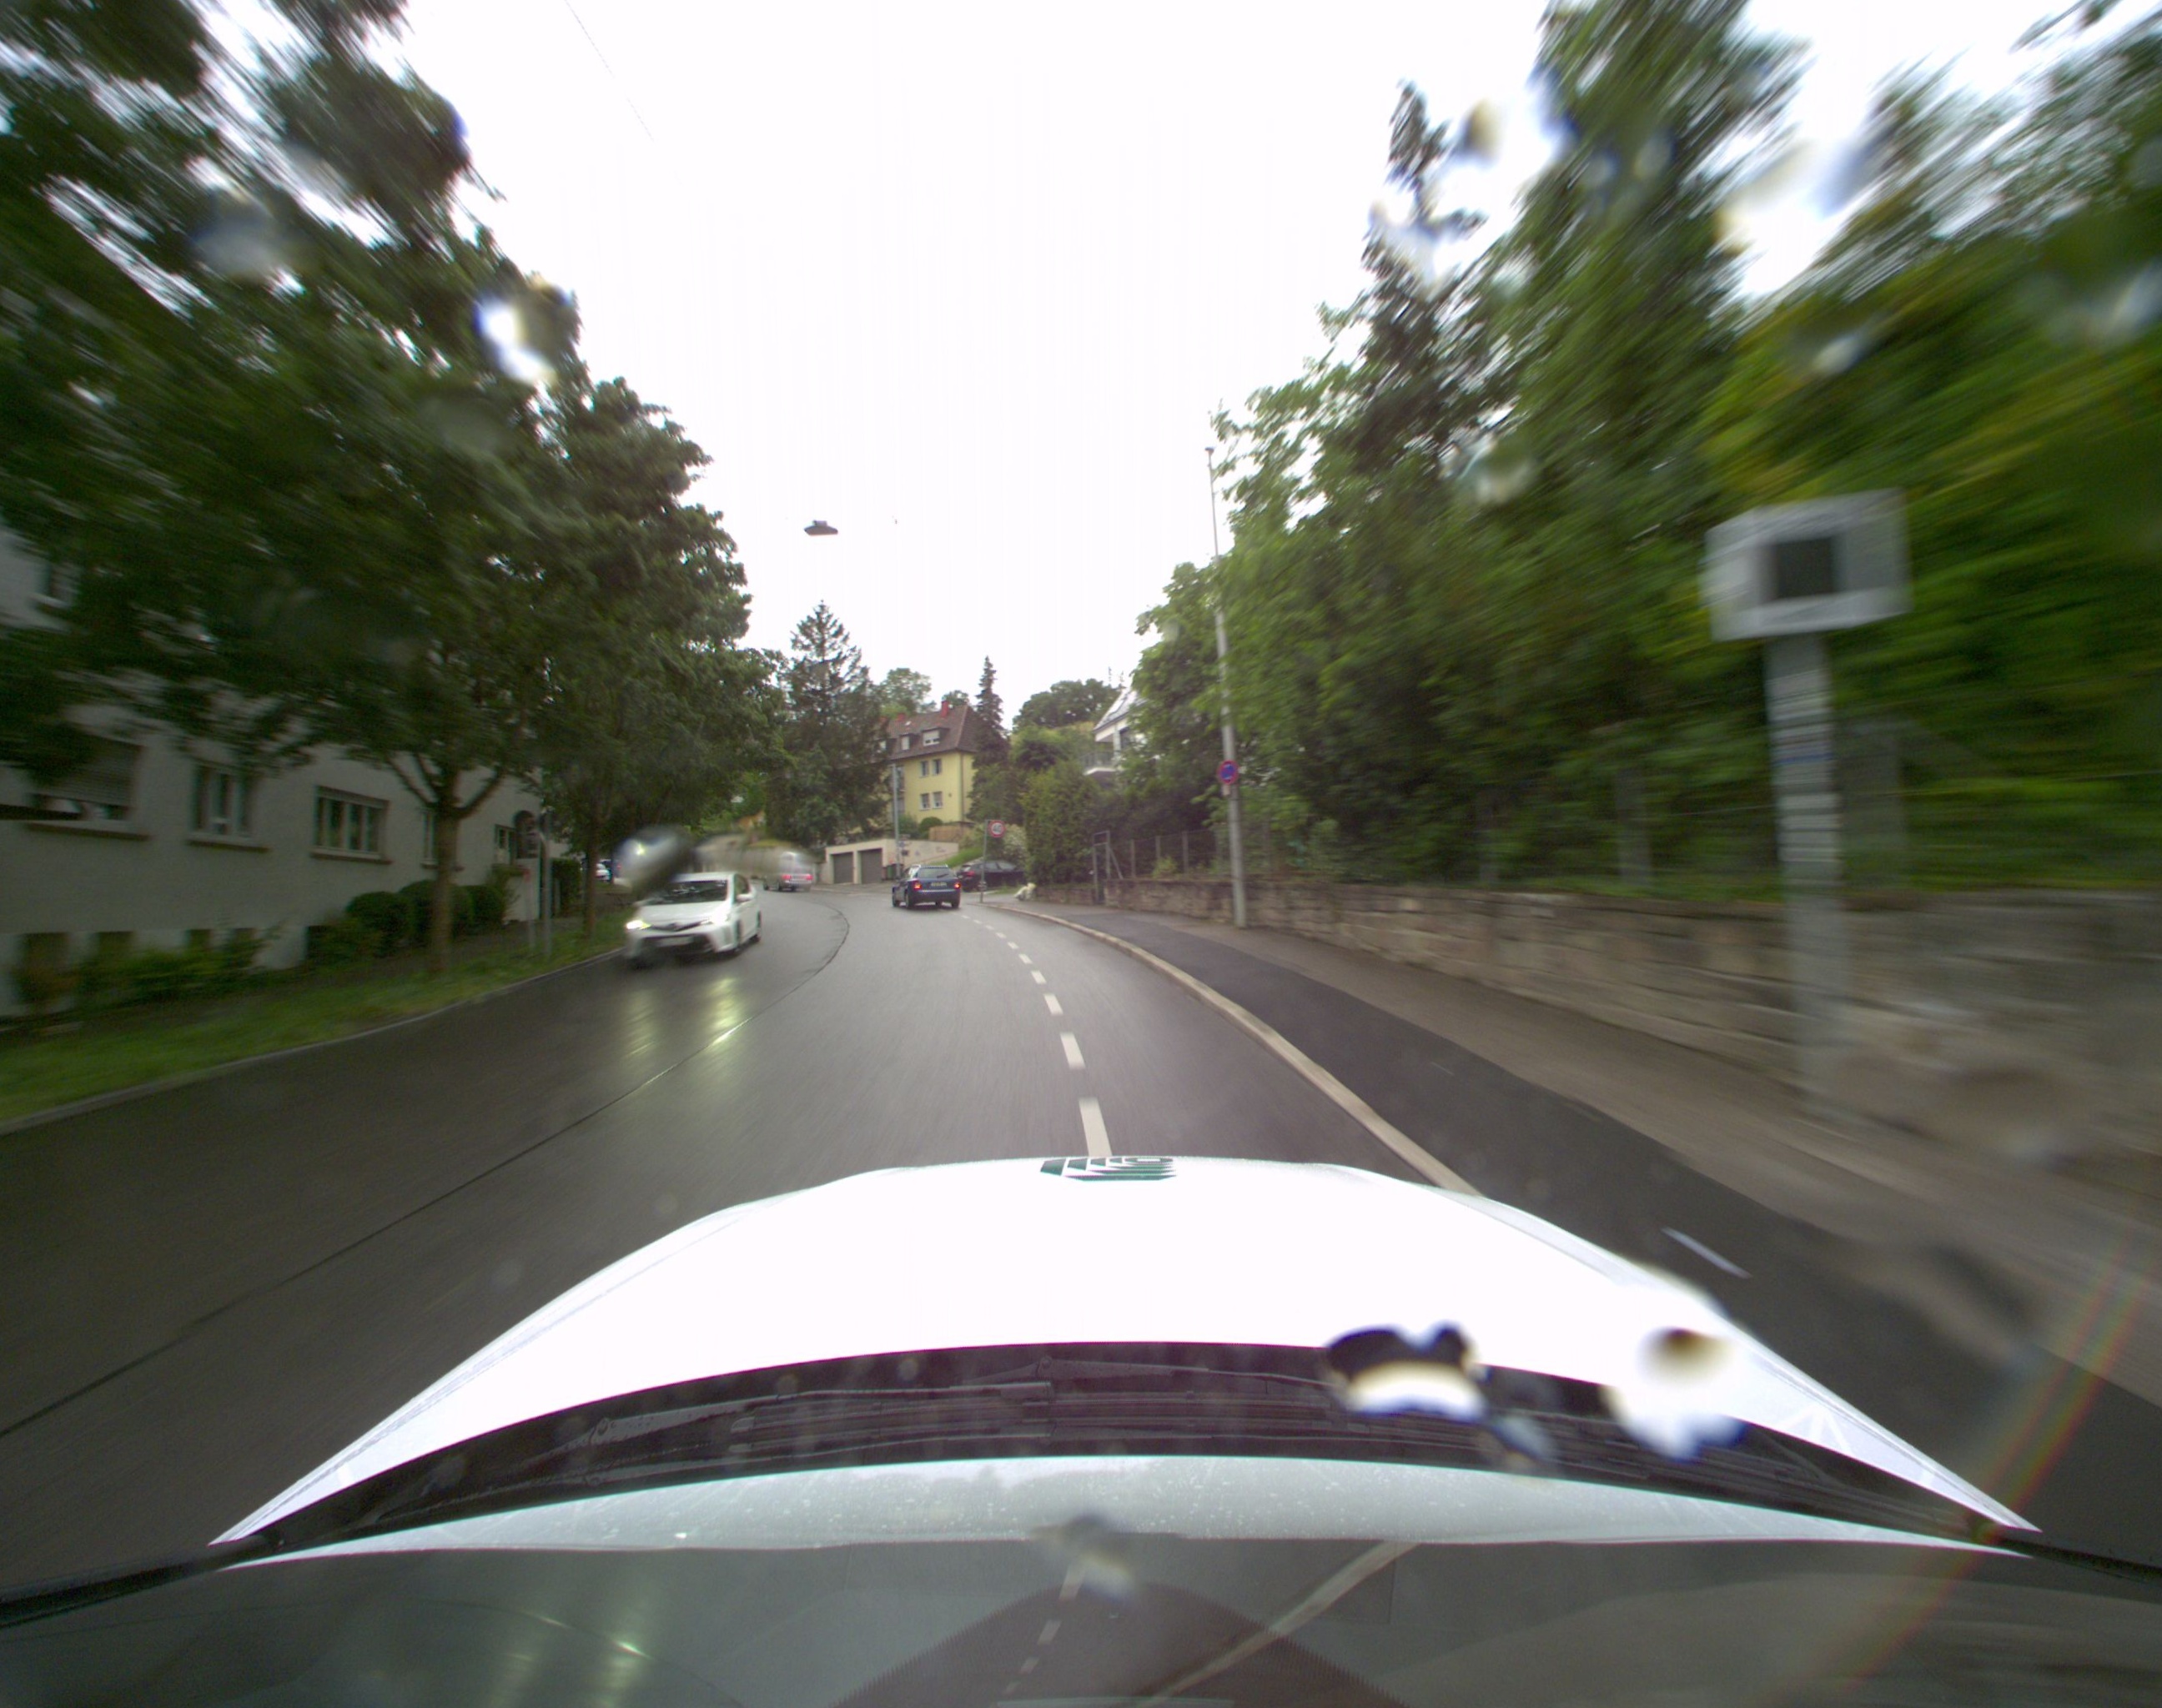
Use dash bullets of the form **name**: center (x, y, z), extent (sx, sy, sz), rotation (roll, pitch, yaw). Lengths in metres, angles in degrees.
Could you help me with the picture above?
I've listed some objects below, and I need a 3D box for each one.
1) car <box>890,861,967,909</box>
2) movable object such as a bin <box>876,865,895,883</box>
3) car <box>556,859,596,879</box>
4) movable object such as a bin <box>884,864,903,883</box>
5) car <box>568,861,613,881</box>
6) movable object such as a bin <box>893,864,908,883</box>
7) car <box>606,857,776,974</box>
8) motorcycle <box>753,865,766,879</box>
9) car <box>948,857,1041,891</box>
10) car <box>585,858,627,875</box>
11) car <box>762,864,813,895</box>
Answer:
- **car**: center (-5.320, 1.003, 27.913), extent (1.860, 1.414, 4.331), rotation (-2, 0, -20)
- **movable object such as a bin**: center (-12.666, 1.318, 52.862), extent (0.789, 1.142, 0.867), rotation (-2, 0, 38)
- **car**: center (-42.004, 1.225, 67.676), extent (3.950, 1.596, 1.895), rotation (-1, 0, 44)
- **movable object such as a bin**: center (-12.052, 1.263, 52.374), extent (0.777, 1.185, 0.867), rotation (-2, 0, 38)
- **car**: center (-38.672, 1.314, 64.176), extent (3.950, 1.530, 2.012), rotation (-1, 0, 44)
- **movable object such as a bin**: center (-11.515, 1.241, 51.895), extent (0.573, 1.223, 0.709), rotation (-2, 0, 38)
- **car**: center (-7.405, 1.033, 16.026), extent (1.987, 1.788, 4.672), rotation (-5, 1, -14)
- **motorcycle**: center (-25.573, 1.420, 64.778), extent (0.552, 1.131, 1.424), rotation (-1, 0, -36)
- **car**: center (-4.217, 0.958, 39.937), extent (4.202, 1.508, 1.721), rotation (-2, 0, -37)
- **car**: center (-48.620, 1.324, 83.383), extent (3.948, 1.684, 2.013), rotation (-1, 0, 31)
- **car**: center (-16.778, 1.408, 46.410), extent (1.962, 1.561, 4.222), rotation (1, 1, -30)
